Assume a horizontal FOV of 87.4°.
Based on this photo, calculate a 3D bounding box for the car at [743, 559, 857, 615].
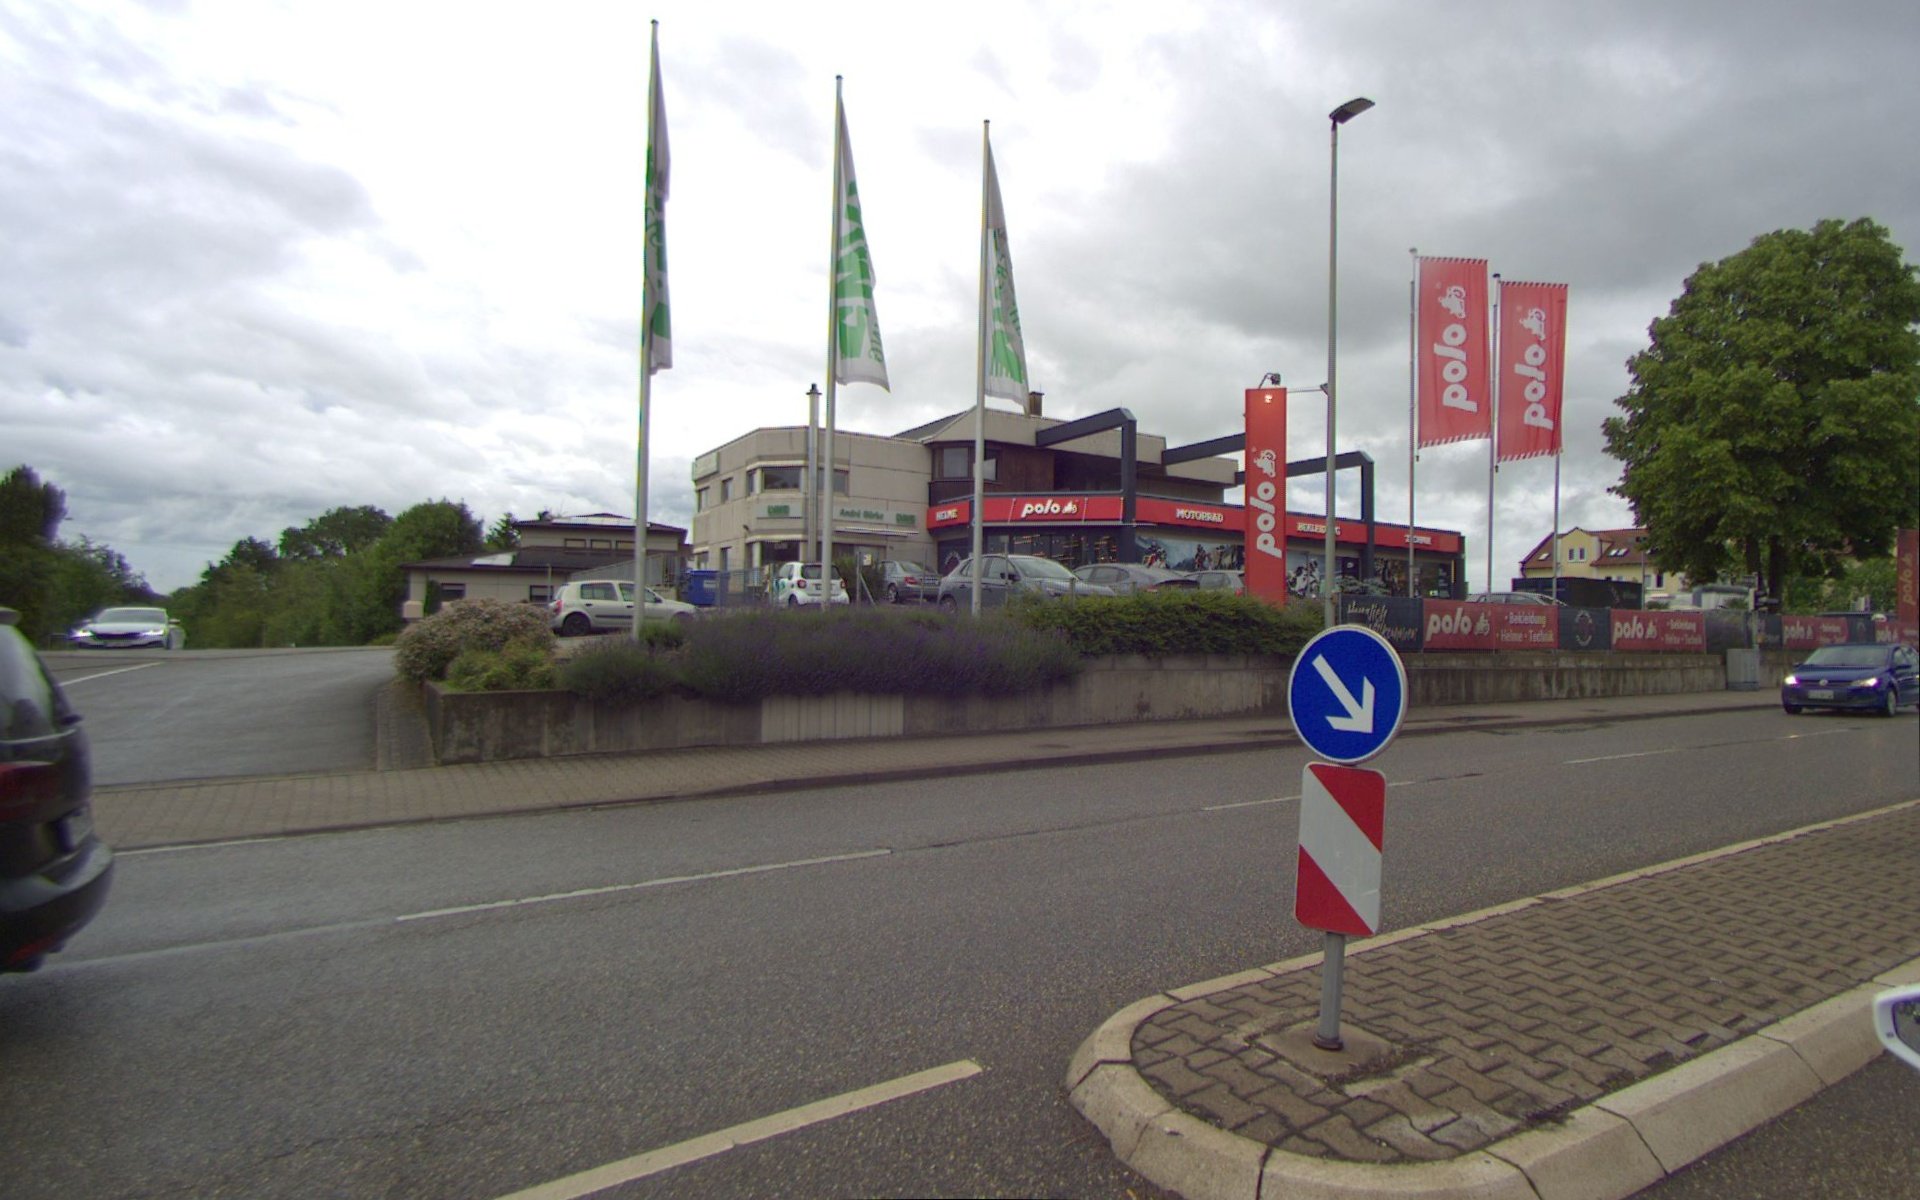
[{"bbox_3d":[-4.732,-0.317,29.312,1.856,1.502,3.802,1,-1,-35],"label":"car"}]

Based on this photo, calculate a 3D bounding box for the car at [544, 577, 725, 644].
[{"bbox_3d":[-7.933,0.296,24.552,3.956,1.532,1.667,1,-3,-30],"label":"car"}]

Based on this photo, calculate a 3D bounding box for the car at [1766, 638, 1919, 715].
[{"bbox_3d":[18.270,1.507,20.529,3.723,1.400,1.626,1,-3,-32],"label":"car"}]

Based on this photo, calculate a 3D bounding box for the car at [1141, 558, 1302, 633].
[{"bbox_3d":[5.751,-0.047,22.418,1.564,1.529,3.398,1,-2,-31],"label":"car"}]

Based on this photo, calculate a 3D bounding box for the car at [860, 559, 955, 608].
[{"bbox_3d":[-1.871,-0.523,34.725,1.850,1.532,3.975,1,-1,-27],"label":"car"}]

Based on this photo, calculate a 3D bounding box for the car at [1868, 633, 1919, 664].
[{"bbox_3d":[47.371,2.382,49.133,4.135,1.475,1.796,-1,-2,33],"label":"car"}]

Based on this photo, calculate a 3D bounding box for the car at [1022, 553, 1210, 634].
[{"bbox_3d":[3.075,-0.076,20.381,1.725,1.502,3.621,1,-1,-37],"label":"car"}]

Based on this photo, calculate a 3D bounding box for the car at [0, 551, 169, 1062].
[{"bbox_3d":[-5.094,0.687,3.051,4.108,1.699,1.744,1,-3,-36],"label":"car"}]

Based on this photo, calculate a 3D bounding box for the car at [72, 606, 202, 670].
[{"bbox_3d":[-21.485,0.962,26.396,1.851,1.532,3.974,1,-1,-28],"label":"car"}]

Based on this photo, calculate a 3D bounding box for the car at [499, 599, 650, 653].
[{"bbox_3d":[-11.693,0.803,30.560,4.014,1.532,1.663,1,-3,-35],"label":"car"}]

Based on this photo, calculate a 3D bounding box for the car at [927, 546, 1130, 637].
[{"bbox_3d":[1.167,-0.096,18.612,1.725,1.502,3.799,1,-1,-37],"label":"car"}]
